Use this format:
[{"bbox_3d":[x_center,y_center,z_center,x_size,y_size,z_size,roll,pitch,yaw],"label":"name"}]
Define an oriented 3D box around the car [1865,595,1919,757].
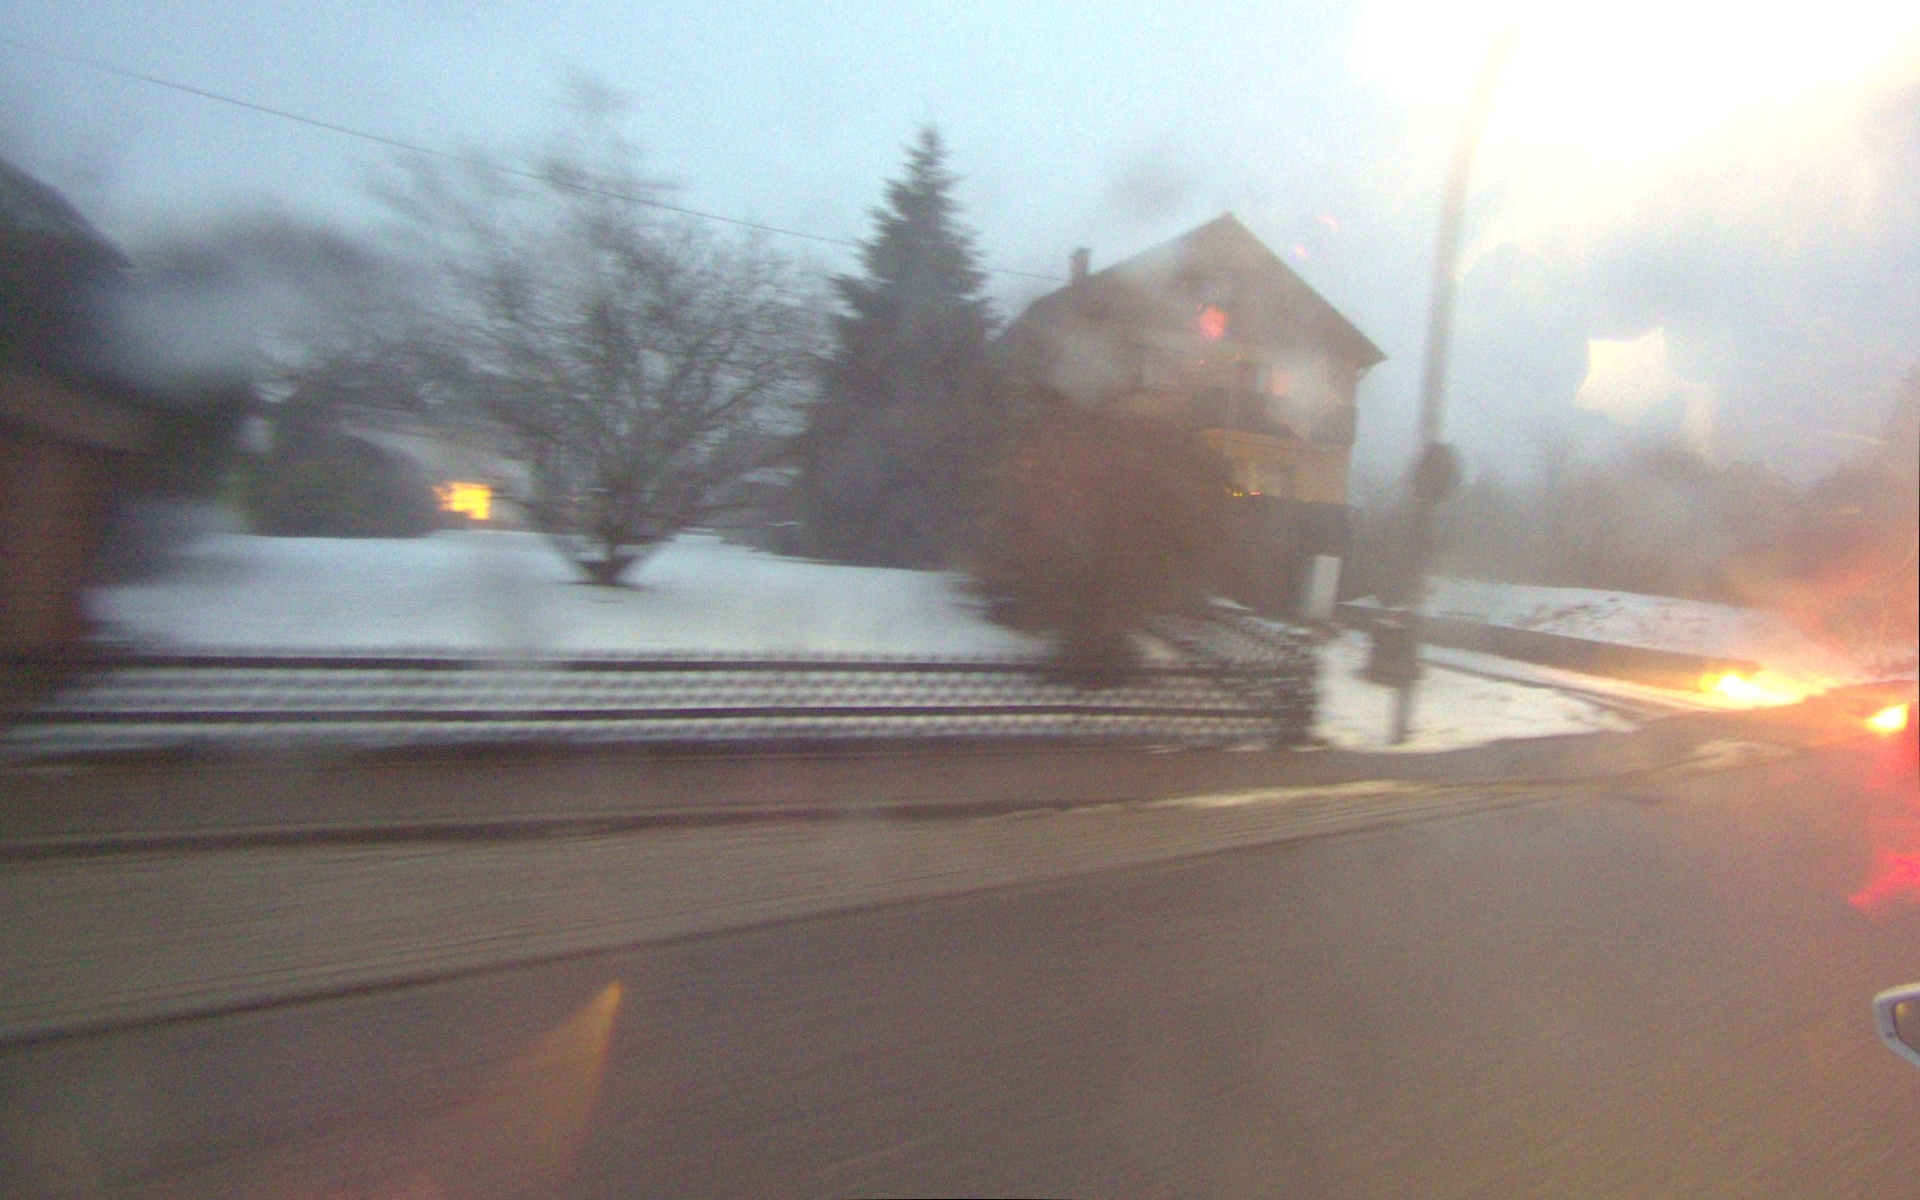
[{"bbox_3d":[10.284,0.802,9.040,1.867,1.631,3.998,2,1,22],"label":"car"}]
